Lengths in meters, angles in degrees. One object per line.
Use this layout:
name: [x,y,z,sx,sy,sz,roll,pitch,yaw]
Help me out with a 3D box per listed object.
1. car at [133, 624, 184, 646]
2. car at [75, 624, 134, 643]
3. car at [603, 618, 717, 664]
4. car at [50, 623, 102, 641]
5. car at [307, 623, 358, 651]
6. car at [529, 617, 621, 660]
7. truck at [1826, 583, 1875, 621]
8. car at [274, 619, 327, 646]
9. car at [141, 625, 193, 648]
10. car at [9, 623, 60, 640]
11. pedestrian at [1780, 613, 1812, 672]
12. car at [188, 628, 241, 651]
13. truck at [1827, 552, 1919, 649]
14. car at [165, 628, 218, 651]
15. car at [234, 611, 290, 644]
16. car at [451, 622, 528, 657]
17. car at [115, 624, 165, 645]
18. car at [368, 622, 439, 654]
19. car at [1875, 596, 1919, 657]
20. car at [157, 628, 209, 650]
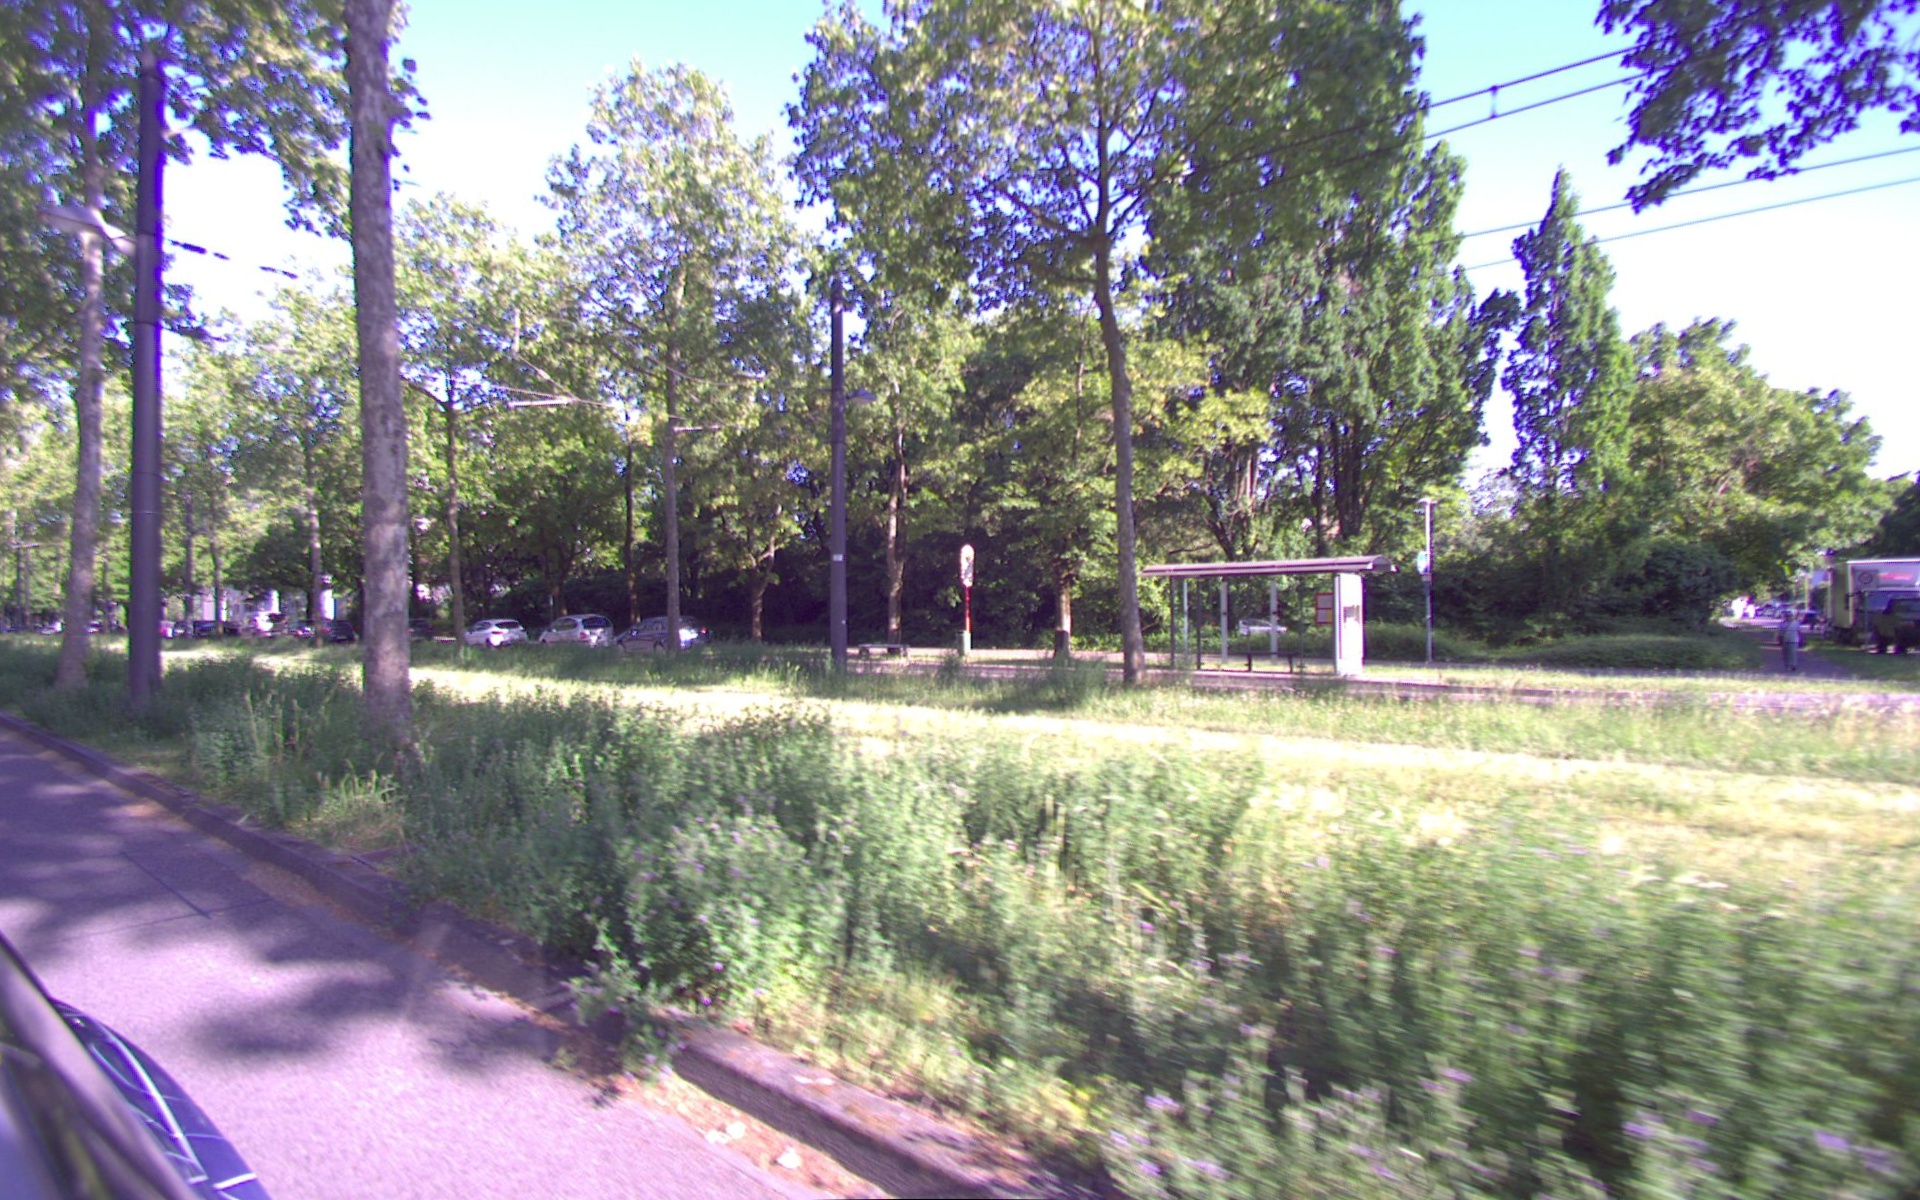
car: [-72.050,3.101,91.066,1.868,1.722,4.512,-1,0,-14]
car: [-86.940,3.346,102.938,1.878,1.722,4.488,-1,0,8]
car: [-11.416,1.495,38.366,4.625,1.499,1.878,-1,3,41]
car: [-95.048,3.435,108.916,1.820,1.722,3.990,-1,0,8]
car: [-37.446,2.177,60.376,3.567,1.499,1.525,-1,2,40]
car: [-16.199,1.567,42.470,4.187,1.608,1.797,-1,3,41]
truck: [78.994,0.129,89.869,2.519,3.218,6.463,-1,0,35]
car: [-41.570,2.048,63.769,3.815,1.507,1.732,0,3,41]
car: [-68.804,3.160,87.907,1.868,1.722,4.512,-1,0,-14]
car: [-103.247,3.541,112.953,1.820,1.722,3.990,-1,0,8]
pedestrian: [21.773,1.096,26.361,0.527,1.502,0.587,-1,0,-45]
car: [-57.462,3.047,78.064,1.857,1.579,4.011,-1,0,-14]
truck: [39.357,0.037,43.142,2.741,3.779,8.415,-1,-1,35]
car: [-60.070,3.082,79.209,1.857,1.579,4.011,-1,0,-14]
car: [-46.996,1.813,68.112,4.274,2.072,1.962,-1,3,40]
car: [-21.898,1.789,47.089,4.021,1.429,1.701,-1,2,41]
car: [-75.263,3.157,92.953,1.868,1.722,4.512,-1,0,-14]
car: [-29.577,1.985,53.769,4.174,1.499,1.820,-1,2,39]
car: [33.447,0.863,34.781,2.221,1.963,6.079,-1,-1,35]
car: [-62.856,3.107,81.919,1.857,1.579,4.011,-1,0,-14]
